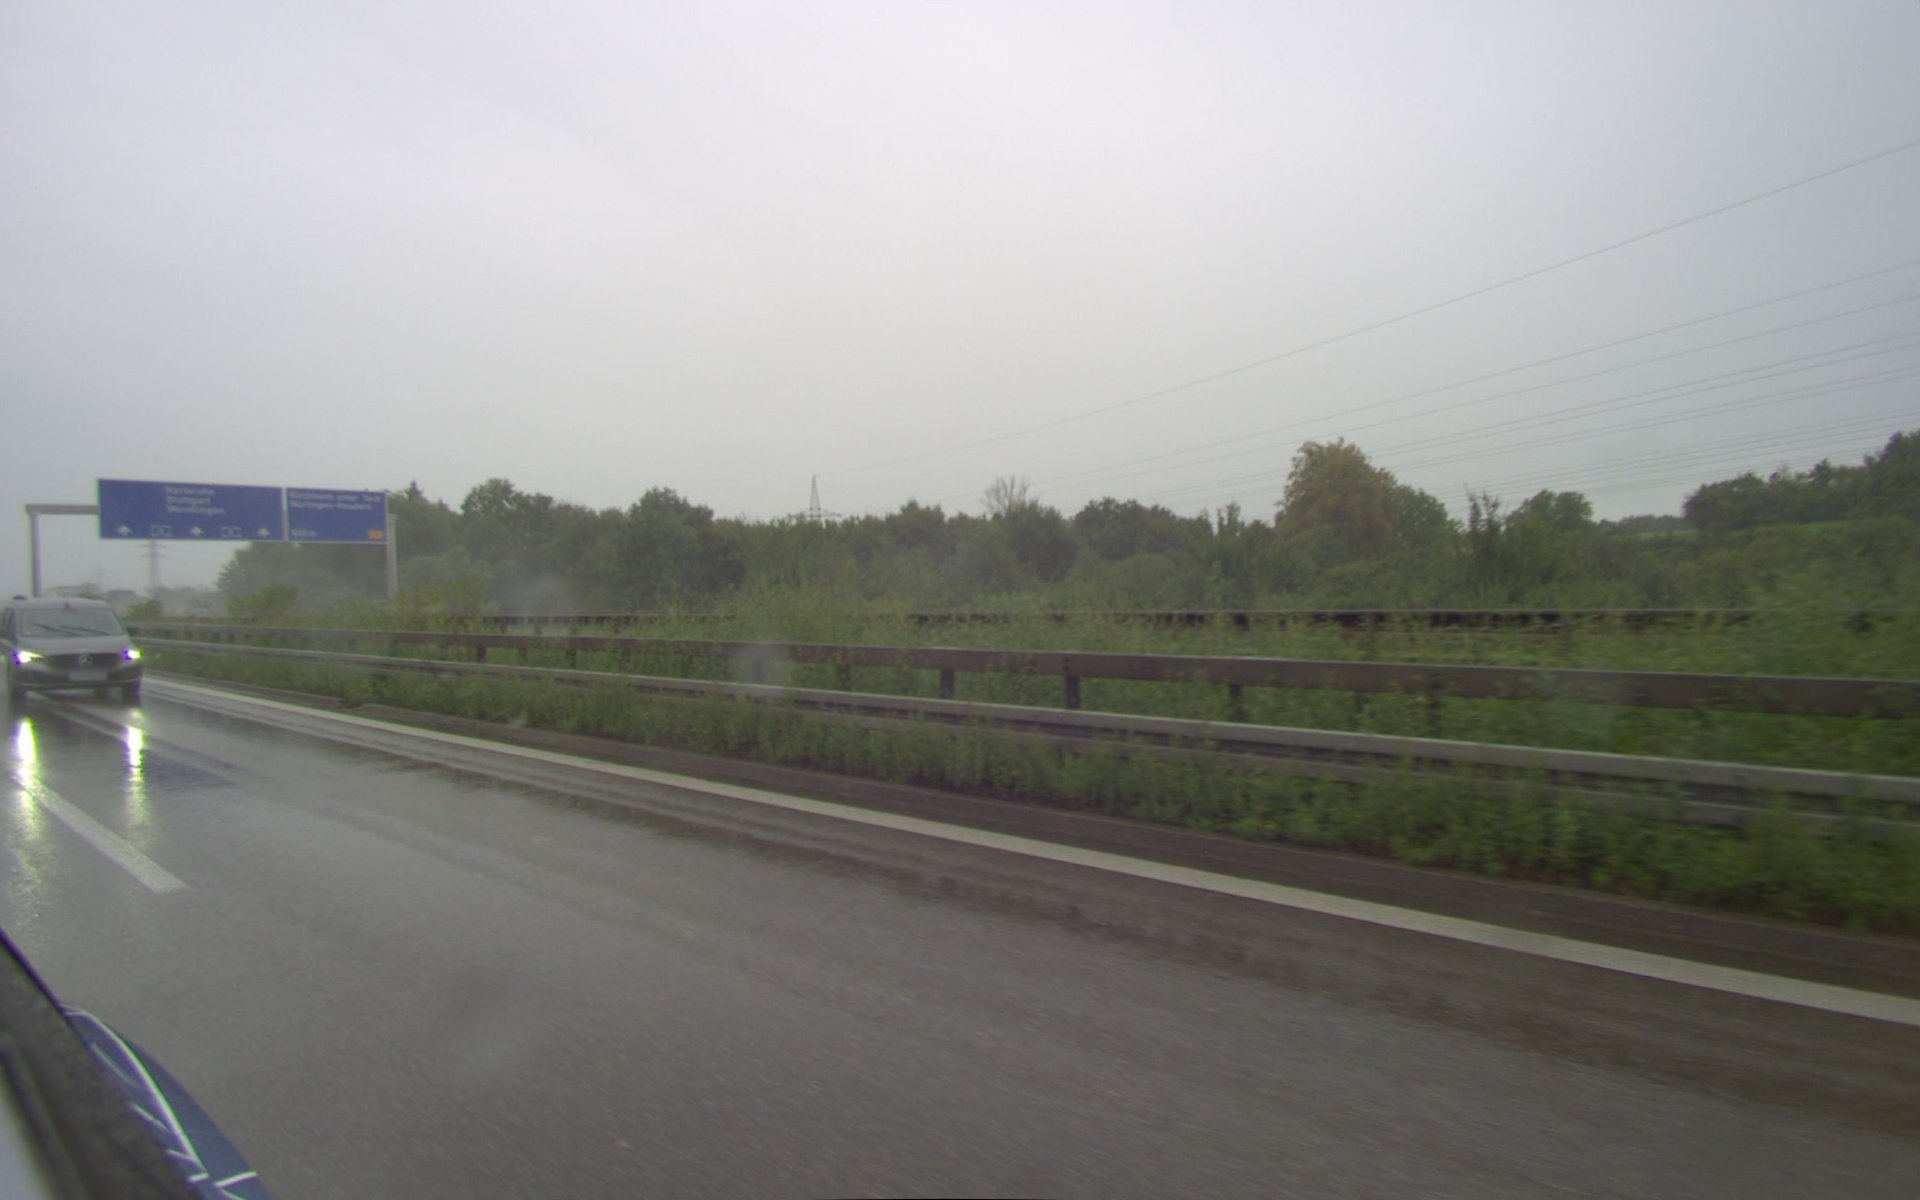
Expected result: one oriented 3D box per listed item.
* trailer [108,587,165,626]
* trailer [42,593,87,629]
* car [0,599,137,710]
[{"bbox_3d":[-88.428,0.811,108.547,13.543,3.784,2.893,-2,2,44],"label":"trailer"},{"bbox_3d":[-101.758,1.282,114.873,13.929,3.749,2.307,-2,2,43],"label":"trailer"},{"bbox_3d":[-16.620,0.907,18.633,2.017,1.787,4.505,0,0,-43],"label":"car"}]
